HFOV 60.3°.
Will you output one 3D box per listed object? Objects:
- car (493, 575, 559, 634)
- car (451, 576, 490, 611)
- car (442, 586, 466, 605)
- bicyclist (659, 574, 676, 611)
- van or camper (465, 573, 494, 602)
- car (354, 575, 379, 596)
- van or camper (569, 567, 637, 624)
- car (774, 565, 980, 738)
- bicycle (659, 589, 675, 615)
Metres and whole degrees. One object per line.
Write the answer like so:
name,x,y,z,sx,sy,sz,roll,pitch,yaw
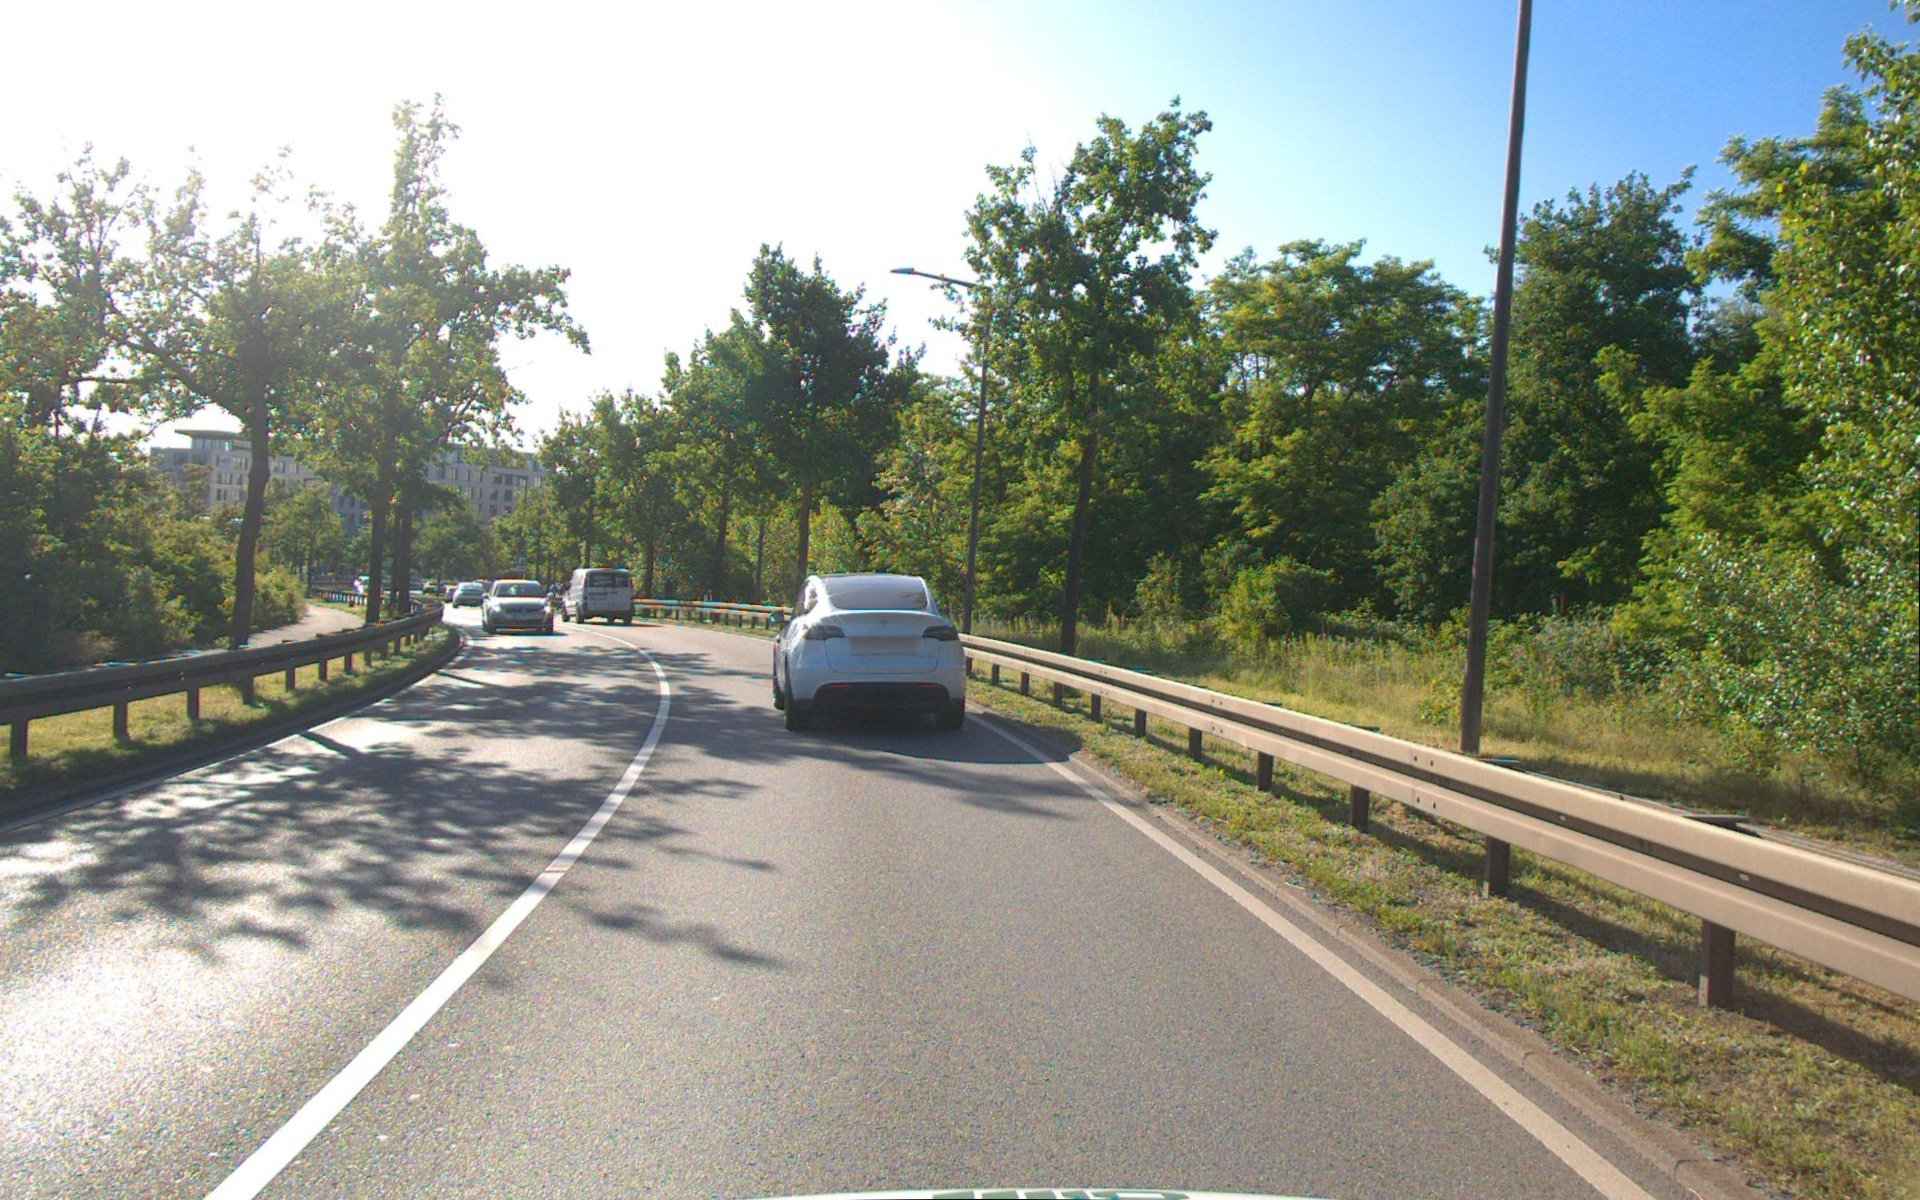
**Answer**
car,-12.164,0.102,46.269,1.667,1.545,3.964,1,0,-16
car,-28.362,-0.397,95.819,1.881,1.834,4.106,3,0,-19
car,-43.934,-0.416,143.536,1.783,1.581,4.116,1,0,-20
bicyclist,-12.833,-0.326,72.476,0.695,1.606,1.002,1,-2,-11
van or camper,-34.489,-0.915,118.573,1.797,1.822,4.523,4,1,-18
car,-46.594,-1.162,129.724,1.783,1.581,4.116,1,0,-20
van or camper,-12.719,-0.160,58.737,1.927,1.917,4.857,1,0,-17
car,-1.055,0.502,18.494,1.878,1.669,4.402,1,0,-8
bicycle,-12.848,0.100,72.510,0.688,1.093,1.916,1,-2,-10
